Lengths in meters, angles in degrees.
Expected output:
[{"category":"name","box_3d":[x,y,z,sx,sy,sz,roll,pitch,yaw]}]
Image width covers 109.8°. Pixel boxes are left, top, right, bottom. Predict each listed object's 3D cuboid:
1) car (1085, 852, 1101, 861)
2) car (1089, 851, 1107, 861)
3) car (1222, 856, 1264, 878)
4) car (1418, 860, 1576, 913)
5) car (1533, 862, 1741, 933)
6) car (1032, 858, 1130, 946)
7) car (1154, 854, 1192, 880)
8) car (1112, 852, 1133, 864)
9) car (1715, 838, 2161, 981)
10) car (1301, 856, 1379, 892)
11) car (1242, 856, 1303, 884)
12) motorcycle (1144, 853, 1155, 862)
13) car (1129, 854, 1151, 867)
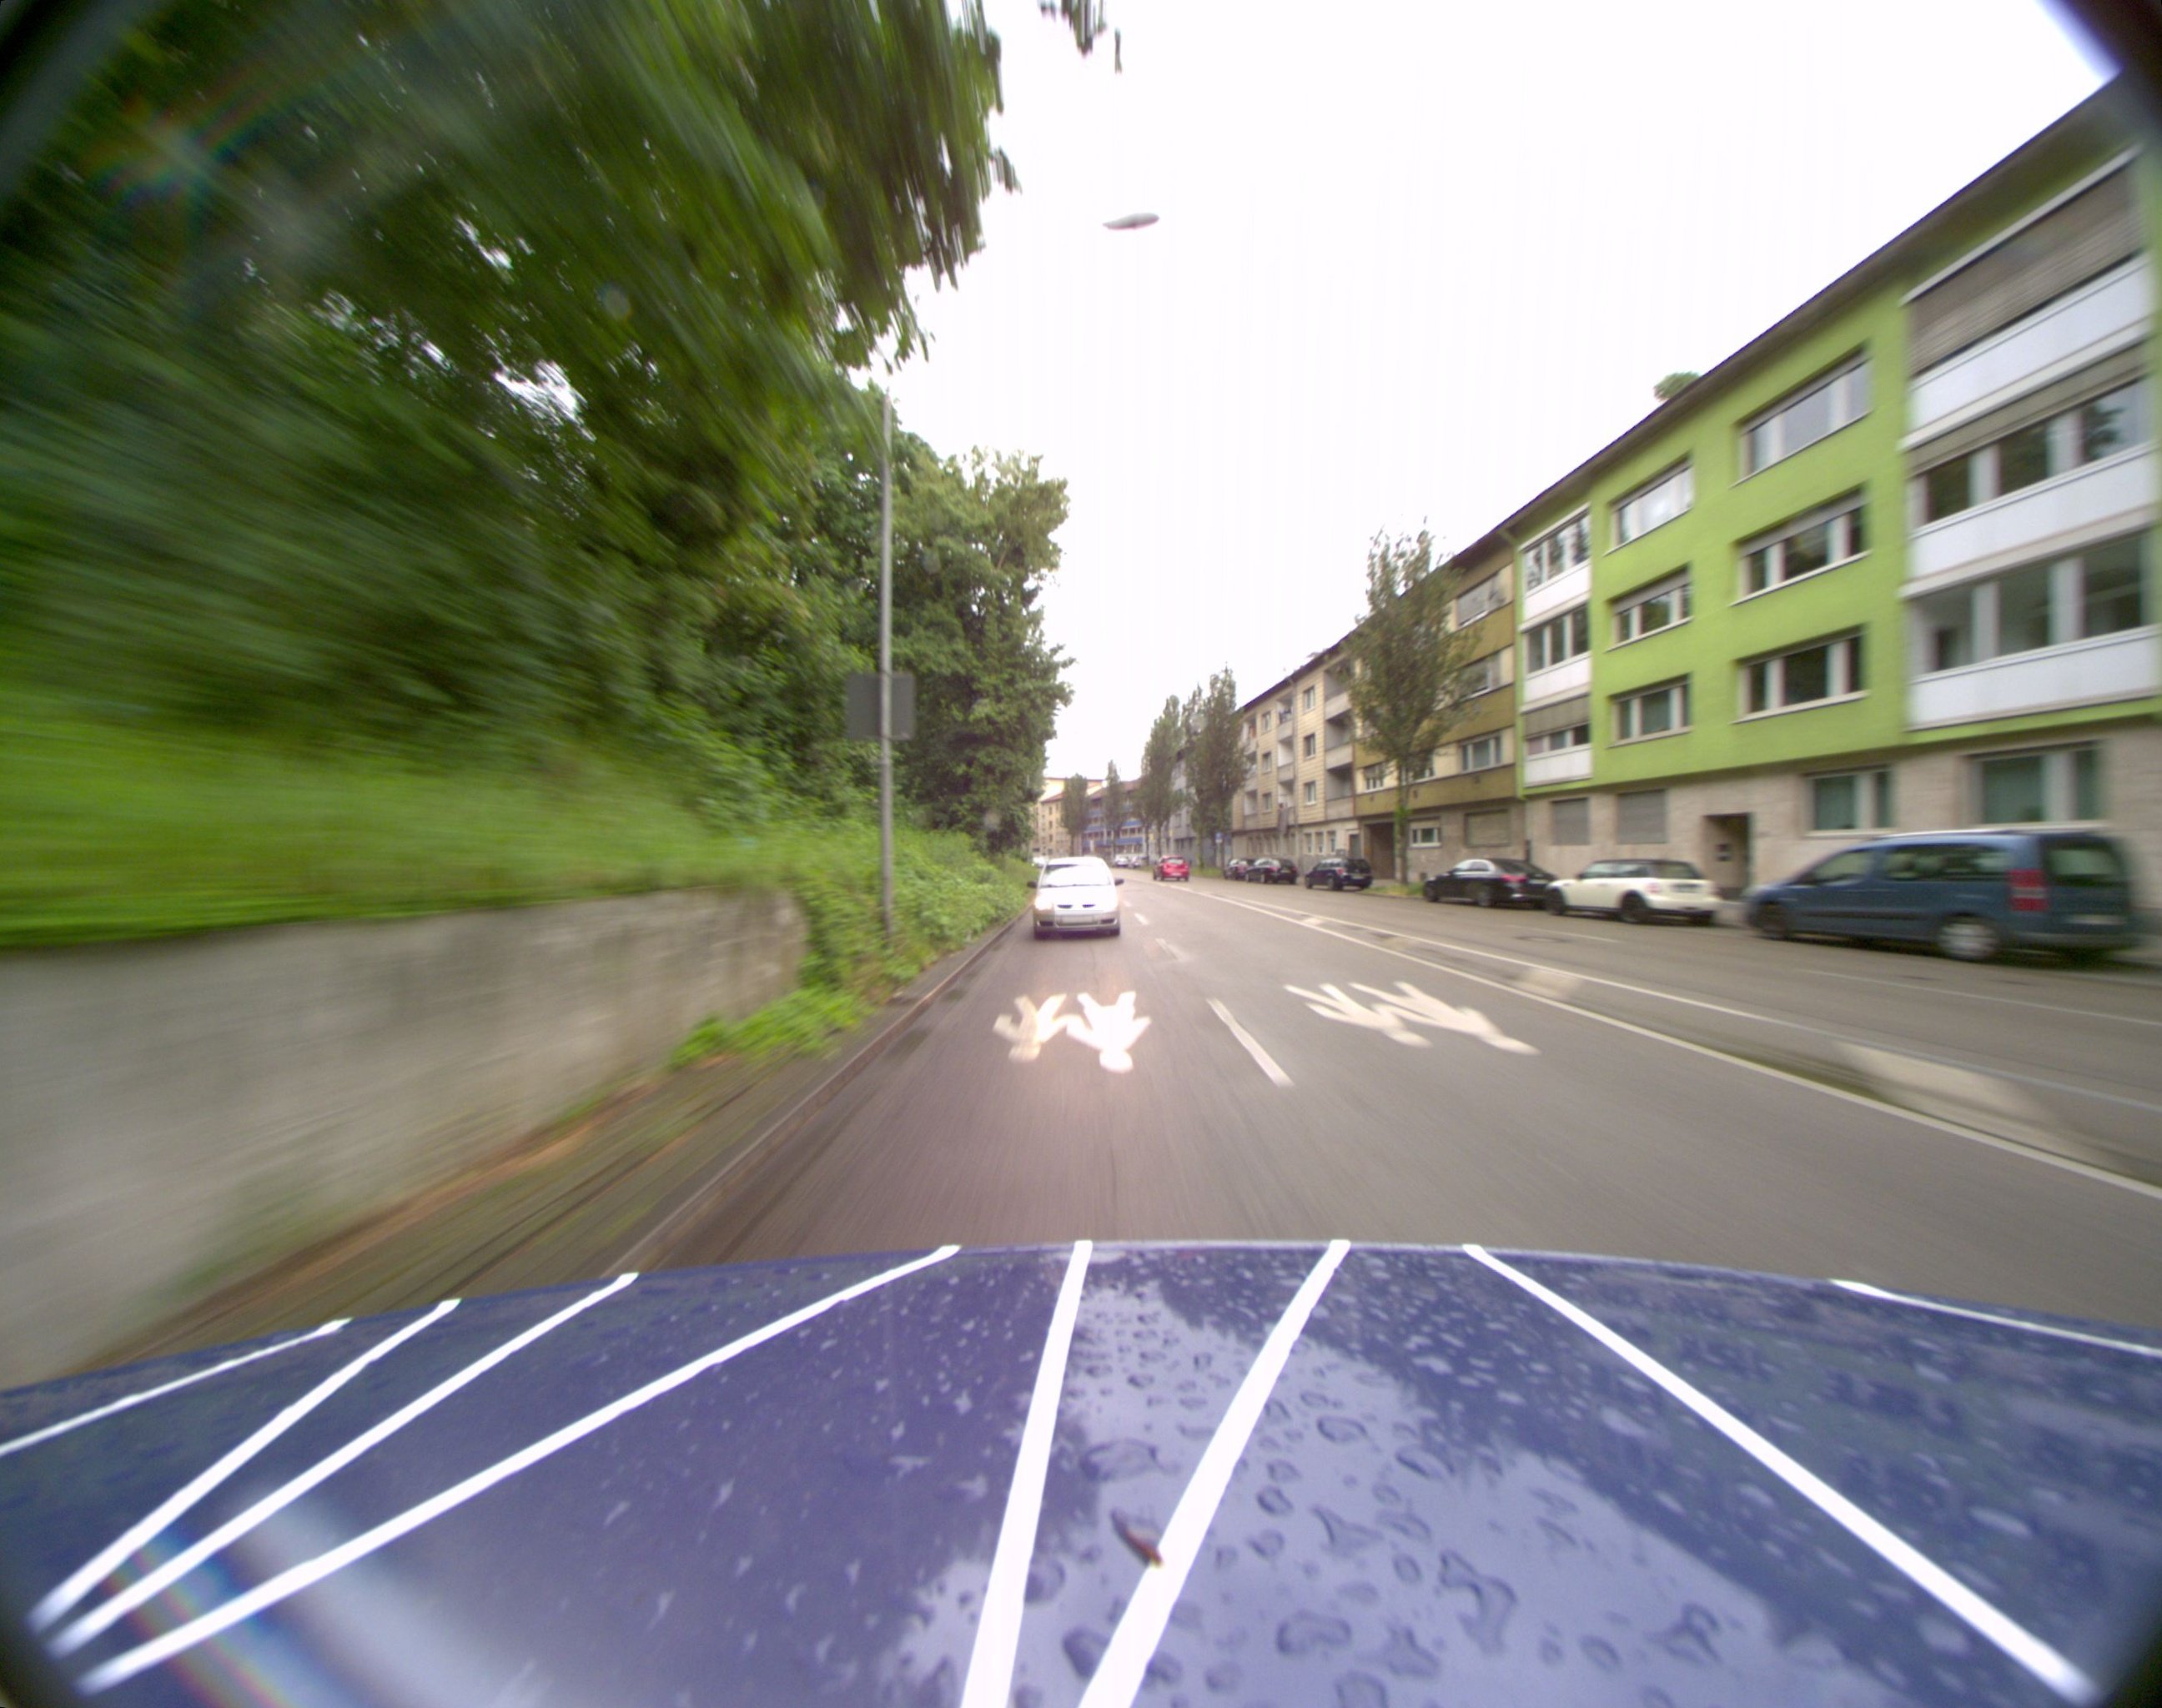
[{"category":"car","box_3d":[1.914,0.433,122.403,1.786,1.394,4.084,1,0,-11]},{"category":"car","box_3d":[2.654,0.260,117.286,1.827,1.431,4.887,1,0,-10]},{"category":"car","box_3d":[10.434,0.835,49.277,1.630,1.379,3.987,0,0,-4]},{"category":"car","box_3d":[12.126,0.882,22.589,1.823,1.364,4.678,1,0,-5]},{"category":"car","box_3d":[12.512,0.904,17.474,1.685,1.368,3.999,1,0,-3]},{"category":"car","box_3d":[-0.119,0.895,15.999,1.753,1.510,3.998,-2,0,-4]},{"category":"car","box_3d":[5.524,0.743,45.919,1.711,1.470,3.679,0,0,-3]},{"category":"car","box_3d":[5.461,0.544,100.386,1.769,1.594,4.529,0,0,-9]},{"category":"car","box_3d":[12.718,0.682,11.748,1.896,1.756,4.599,1,0,-2]},{"category":"car","box_3d":[11.582,0.857,34.295,1.723,1.480,4.513,1,0,-4]},{"category":"car","box_3d":[10.812,0.856,43.244,1.823,1.480,4.787,1,0,-5]},{"category":"motorcycle","box_3d":[10.180,0.504,112.730,0.678,1.406,2.233,-3,1,-17]},{"category":"car","box_3d":[6.872,0.735,89.185,1.730,1.444,4.202,0,0,-8]}]
